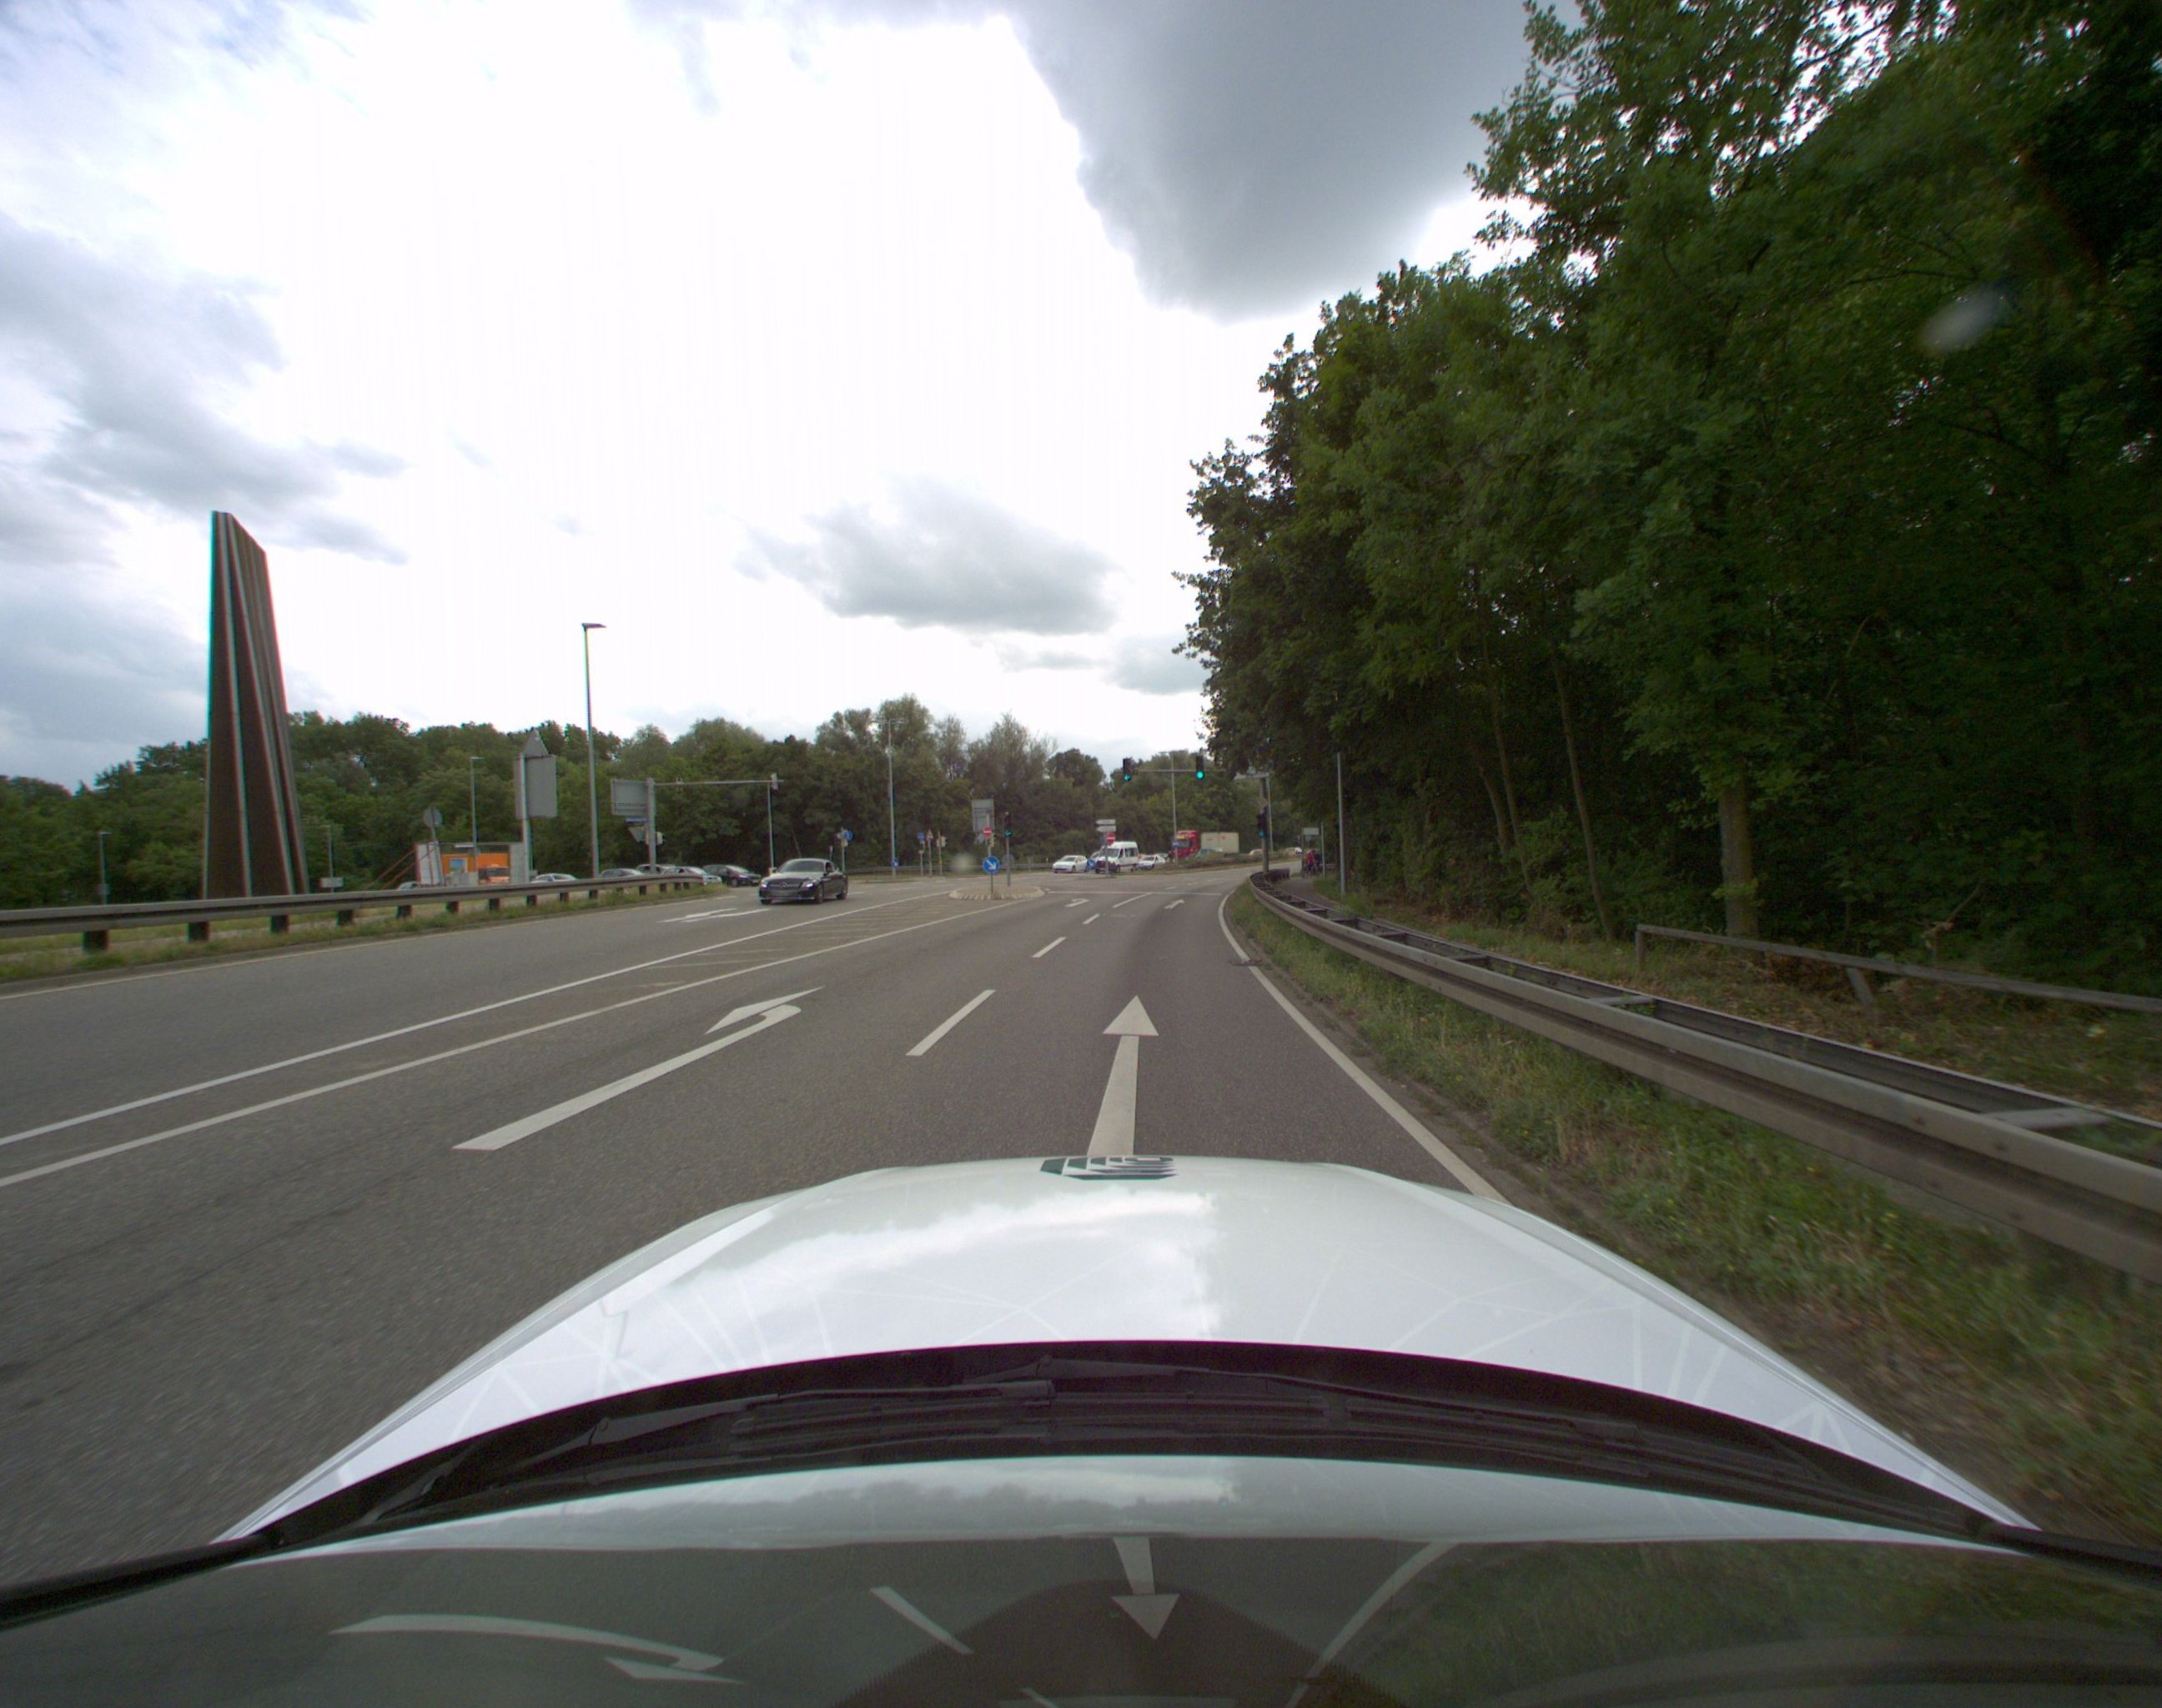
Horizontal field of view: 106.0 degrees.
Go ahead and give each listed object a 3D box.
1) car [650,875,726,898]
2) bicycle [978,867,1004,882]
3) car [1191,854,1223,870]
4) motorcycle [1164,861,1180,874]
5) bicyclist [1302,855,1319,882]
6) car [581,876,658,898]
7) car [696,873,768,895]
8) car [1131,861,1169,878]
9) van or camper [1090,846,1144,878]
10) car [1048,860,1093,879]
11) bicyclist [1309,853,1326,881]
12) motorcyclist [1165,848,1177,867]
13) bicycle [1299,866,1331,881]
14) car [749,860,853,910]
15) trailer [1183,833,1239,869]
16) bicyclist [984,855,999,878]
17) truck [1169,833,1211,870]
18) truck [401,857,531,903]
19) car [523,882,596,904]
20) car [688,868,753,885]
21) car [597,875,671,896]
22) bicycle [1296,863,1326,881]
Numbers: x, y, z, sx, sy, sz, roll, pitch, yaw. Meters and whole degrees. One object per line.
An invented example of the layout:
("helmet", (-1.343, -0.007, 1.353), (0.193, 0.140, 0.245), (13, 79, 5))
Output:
("car", (-23.232, 1.917, 48.186), (3.761, 1.310, 2.011), (-1, -1, 22))
("bicycle", (-6.953, 1.608, 63.074), (1.919, 1.052, 0.712), (-4, -2, 32))
("car", (13.867, 0.864, 89.190), (1.787, 1.729, 4.991), (-2, -1, 30))
("motorcycle", (8.791, 1.266, 78.693), (0.791, 1.225, 2.340), (-1, -1, 26))
("bicyclist", (15.125, 0.949, 53.629), (0.842, 1.732, 0.641), (-3, -2, 35))
("car", (-29.433, 2.106, 51.911), (4.285, 1.310, 2.011), (-1, -1, 22))
("car", (-22.342, 1.896, 52.136), (4.022, 1.310, 2.011), (-1, -1, 22))
("car", (6.376, 1.415, 75.222), (1.975, 1.498, 4.426), (-1, -1, 27))
("van or camper", (3.112, 0.654, 69.132), (2.140, 2.589, 6.533), (-1, -1, 25))
("car", (-0.854, 1.269, 68.478), (1.975, 1.547, 4.564), (-1, -1, 24))
("bicyclist", (15.918, 0.864, 54.882), (0.941, 1.844, 0.667), (-4, -2, 18))
("motorcyclist", (8.754, 0.325, 78.894), (0.857, 1.823, 0.931), (-2, -1, 26))
("bicycle", (15.785, 1.313, 54.895), (1.955, 0.941, 0.664), (-4, -2, 18))
("car", (-8.944, 0.943, 26.461), (1.989, 1.455, 4.647), (-1, -1, -4))
("trailer", (15.787, -0.351, 97.966), (2.510, 4.147, 10.840), (-2, -1, 32))
("bicyclist", (-6.968, 0.946, 63.117), (0.735, 1.735, 0.806), (-3, -2, 33))
("truck", (12.487, -0.288, 92.769), (2.543, 4.083, 5.658), (-2, -1, 33))
("truck", (-43.828, 1.868, 57.996), (9.166, 3.136, 2.987), (-1, -1, 21))
("car", (-34.586, 2.582, 54.017), (4.285, 1.310, 2.011), (-1, -1, 22))
("car", (-28.202, 1.718, 63.868), (4.206, 1.205, 1.995), (-1, -1, -7))
("car", (-30.740, 2.173, 56.005), (4.519, 1.310, 2.011), (-1, -1, 22))
("bicycle", (15.148, 1.204, 53.580), (1.725, 1.138, 0.634), (-3, -2, 35))
